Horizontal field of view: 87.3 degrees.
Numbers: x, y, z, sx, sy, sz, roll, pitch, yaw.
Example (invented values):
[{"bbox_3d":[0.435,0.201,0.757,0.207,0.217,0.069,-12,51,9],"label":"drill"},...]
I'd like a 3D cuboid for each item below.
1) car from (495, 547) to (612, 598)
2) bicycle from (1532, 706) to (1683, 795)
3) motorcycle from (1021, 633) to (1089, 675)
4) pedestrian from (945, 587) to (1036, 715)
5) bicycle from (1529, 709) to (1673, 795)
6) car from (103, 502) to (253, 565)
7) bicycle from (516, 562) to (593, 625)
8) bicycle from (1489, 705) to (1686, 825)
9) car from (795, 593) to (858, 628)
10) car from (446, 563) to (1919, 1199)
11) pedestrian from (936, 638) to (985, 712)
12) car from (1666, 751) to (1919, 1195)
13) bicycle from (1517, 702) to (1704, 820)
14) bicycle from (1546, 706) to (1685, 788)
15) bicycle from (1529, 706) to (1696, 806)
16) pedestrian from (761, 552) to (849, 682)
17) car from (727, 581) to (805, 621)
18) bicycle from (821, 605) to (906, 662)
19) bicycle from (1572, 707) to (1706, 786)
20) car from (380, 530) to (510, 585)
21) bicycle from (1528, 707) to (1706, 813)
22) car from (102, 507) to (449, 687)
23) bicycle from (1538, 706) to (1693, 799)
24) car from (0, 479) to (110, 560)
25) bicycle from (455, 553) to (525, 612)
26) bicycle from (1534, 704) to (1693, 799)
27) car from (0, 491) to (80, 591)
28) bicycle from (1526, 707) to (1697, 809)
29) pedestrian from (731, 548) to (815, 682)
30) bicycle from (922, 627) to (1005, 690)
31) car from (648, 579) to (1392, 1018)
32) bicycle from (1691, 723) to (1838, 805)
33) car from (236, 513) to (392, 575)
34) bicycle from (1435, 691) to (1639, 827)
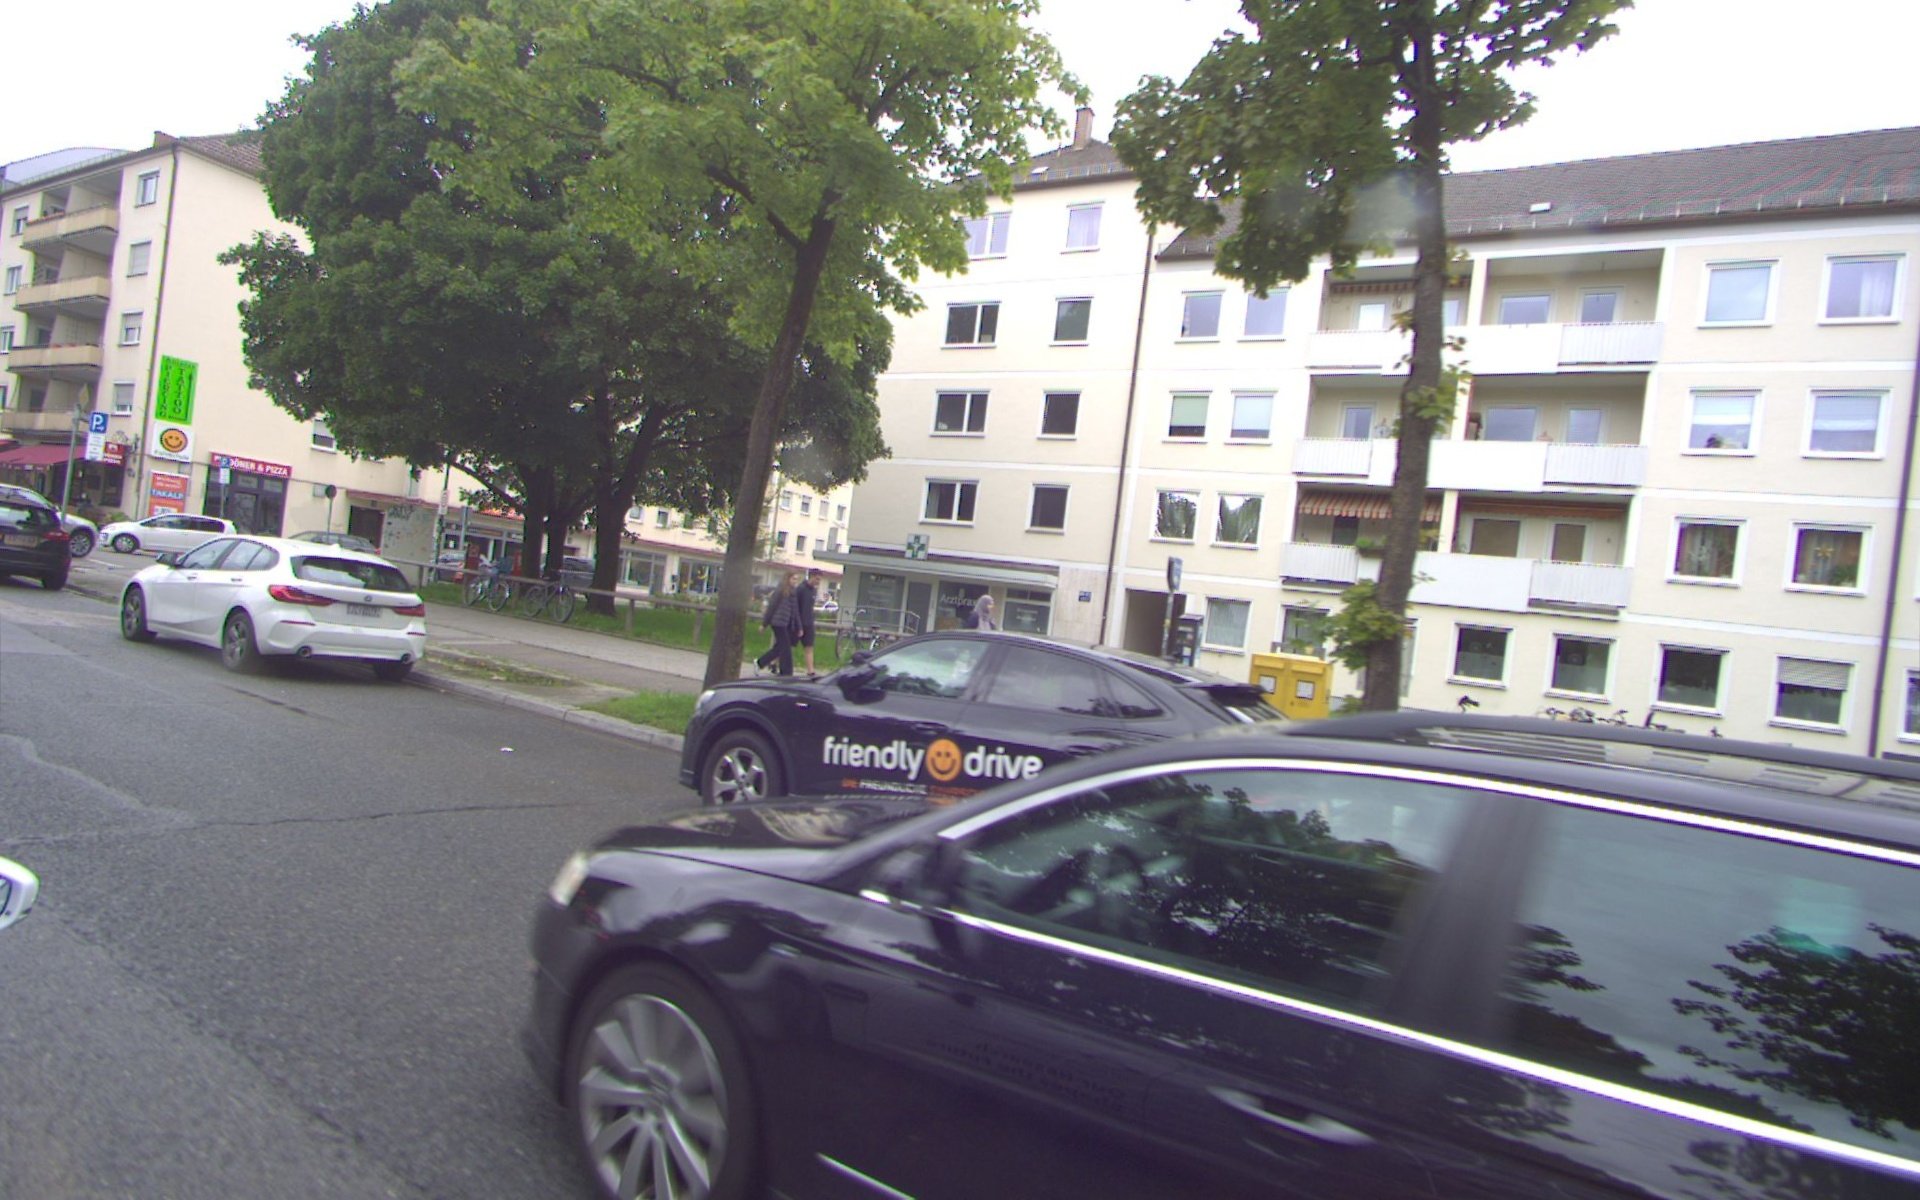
[{"bbox_3d":[-18.685,-1.235,46.478,1.840,1.795,4.742,7,0,30],"label":"car"},{"bbox_3d":[10.120,2.331,15.783,1.853,1.041,0.431,8,1,33],"label":"bicycle"},{"bbox_3d":[2.900,1.645,30.794,1.875,1.035,0.605,7,-1,33],"label":"motorcycle"},{"bbox_3d":[0.443,0.730,14.393,0.821,1.702,0.839,7,1,31],"label":"pedestrian"},{"bbox_3d":[10.435,2.449,16.429,1.853,1.041,0.431,8,1,33],"label":"bicycle"},{"bbox_3d":[-24.928,-2.110,32.109,3.538,1.434,1.848,8,0,-43],"label":"car"},{"bbox_3d":[-8.535,-0.142,21.143,1.853,1.116,0.382,7,-1,33],"label":"bicycle"},{"bbox_3d":[7.407,1.917,11.956,1.853,1.041,0.431,8,1,33],"label":"bicycle"},{"bbox_3d":[-8.614,0.697,65.152,1.839,1.679,4.088,7,-2,28],"label":"car"},{"bbox_3d":[1.008,0.944,2.219,4.369,1.449,1.734,7,-2,33],"label":"car"},{"bbox_3d":[0.010,1.037,13.897,0.428,0.961,0.408,7,1,31],"label":"pedestrian"},{"bbox_3d":[5.151,1.625,3.445,4.171,1.402,1.640,7,-2,29],"label":"car"},{"bbox_3d":[8.222,2.011,12.797,1.853,1.115,0.431,8,1,33],"label":"bicycle"},{"bbox_3d":[11.104,2.475,17.103,1.853,1.041,0.431,8,1,33],"label":"bicycle"},{"bbox_3d":[9.219,2.182,14.290,1.853,1.041,0.431,8,1,33],"label":"bicycle"},{"bbox_3d":[-2.426,0.268,15.759,0.904,1.913,0.730,7,1,31],"label":"pedestrian"},{"bbox_3d":[-11.466,0.107,59.782,1.839,1.679,4.750,7,-2,27],"label":"car"},{"bbox_3d":[-1.915,0.692,20.195,0.549,0.950,1.880,7,-2,33],"label":"bicycle"},{"bbox_3d":[12.024,2.581,17.879,1.853,1.041,0.431,8,1,33],"label":"bicycle"},{"bbox_3d":[-21.162,-1.711,41.540,1.839,1.681,4.401,7,0,29],"label":"car"},{"bbox_3d":[8.698,2.096,13.400,1.853,1.041,0.431,8,1,33],"label":"bicycle"},{"bbox_3d":[-8.093,-0.065,11.813,4.068,1.481,1.687,7,-3,31],"label":"car"},{"bbox_3d":[9.935,2.288,15.317,1.853,1.041,0.431,8,1,33],"label":"bicycle"},{"bbox_3d":[-23.758,-2.127,24.715,1.837,1.679,4.410,8,-2,0],"label":"car"},{"bbox_3d":[-10.451,-0.391,22.334,1.823,1.118,0.389,7,-1,33],"label":"bicycle"},{"bbox_3d":[9.650,2.223,14.924,1.853,1.041,0.431,8,1,33],"label":"bicycle"},{"bbox_3d":[-16.795,-1.154,17.122,3.613,1.482,1.621,7,-2,32],"label":"car"},{"bbox_3d":[8.949,2.145,13.890,1.853,1.041,0.431,8,1,33],"label":"bicycle"},{"bbox_3d":[-2.827,0.230,15.215,0.887,1.913,0.588,7,1,31],"label":"pedestrian"},{"bbox_3d":[0.089,1.075,18.079,0.426,0.985,1.880,7,-2,33],"label":"bicycle"},{"bbox_3d":[0.234,0.946,6.310,4.204,1.550,1.720,7,-2,32],"label":"car"},{"bbox_3d":[13.944,2.834,17.503,1.853,1.041,0.431,8,1,33],"label":"bicycle"},{"bbox_3d":[-23.769,-2.018,37.181,1.839,1.681,4.402,7,0,27],"label":"car"},{"bbox_3d":[6.490,1.754,11.391,1.853,1.148,0.431,8,2,33],"label":"bicycle"}]
